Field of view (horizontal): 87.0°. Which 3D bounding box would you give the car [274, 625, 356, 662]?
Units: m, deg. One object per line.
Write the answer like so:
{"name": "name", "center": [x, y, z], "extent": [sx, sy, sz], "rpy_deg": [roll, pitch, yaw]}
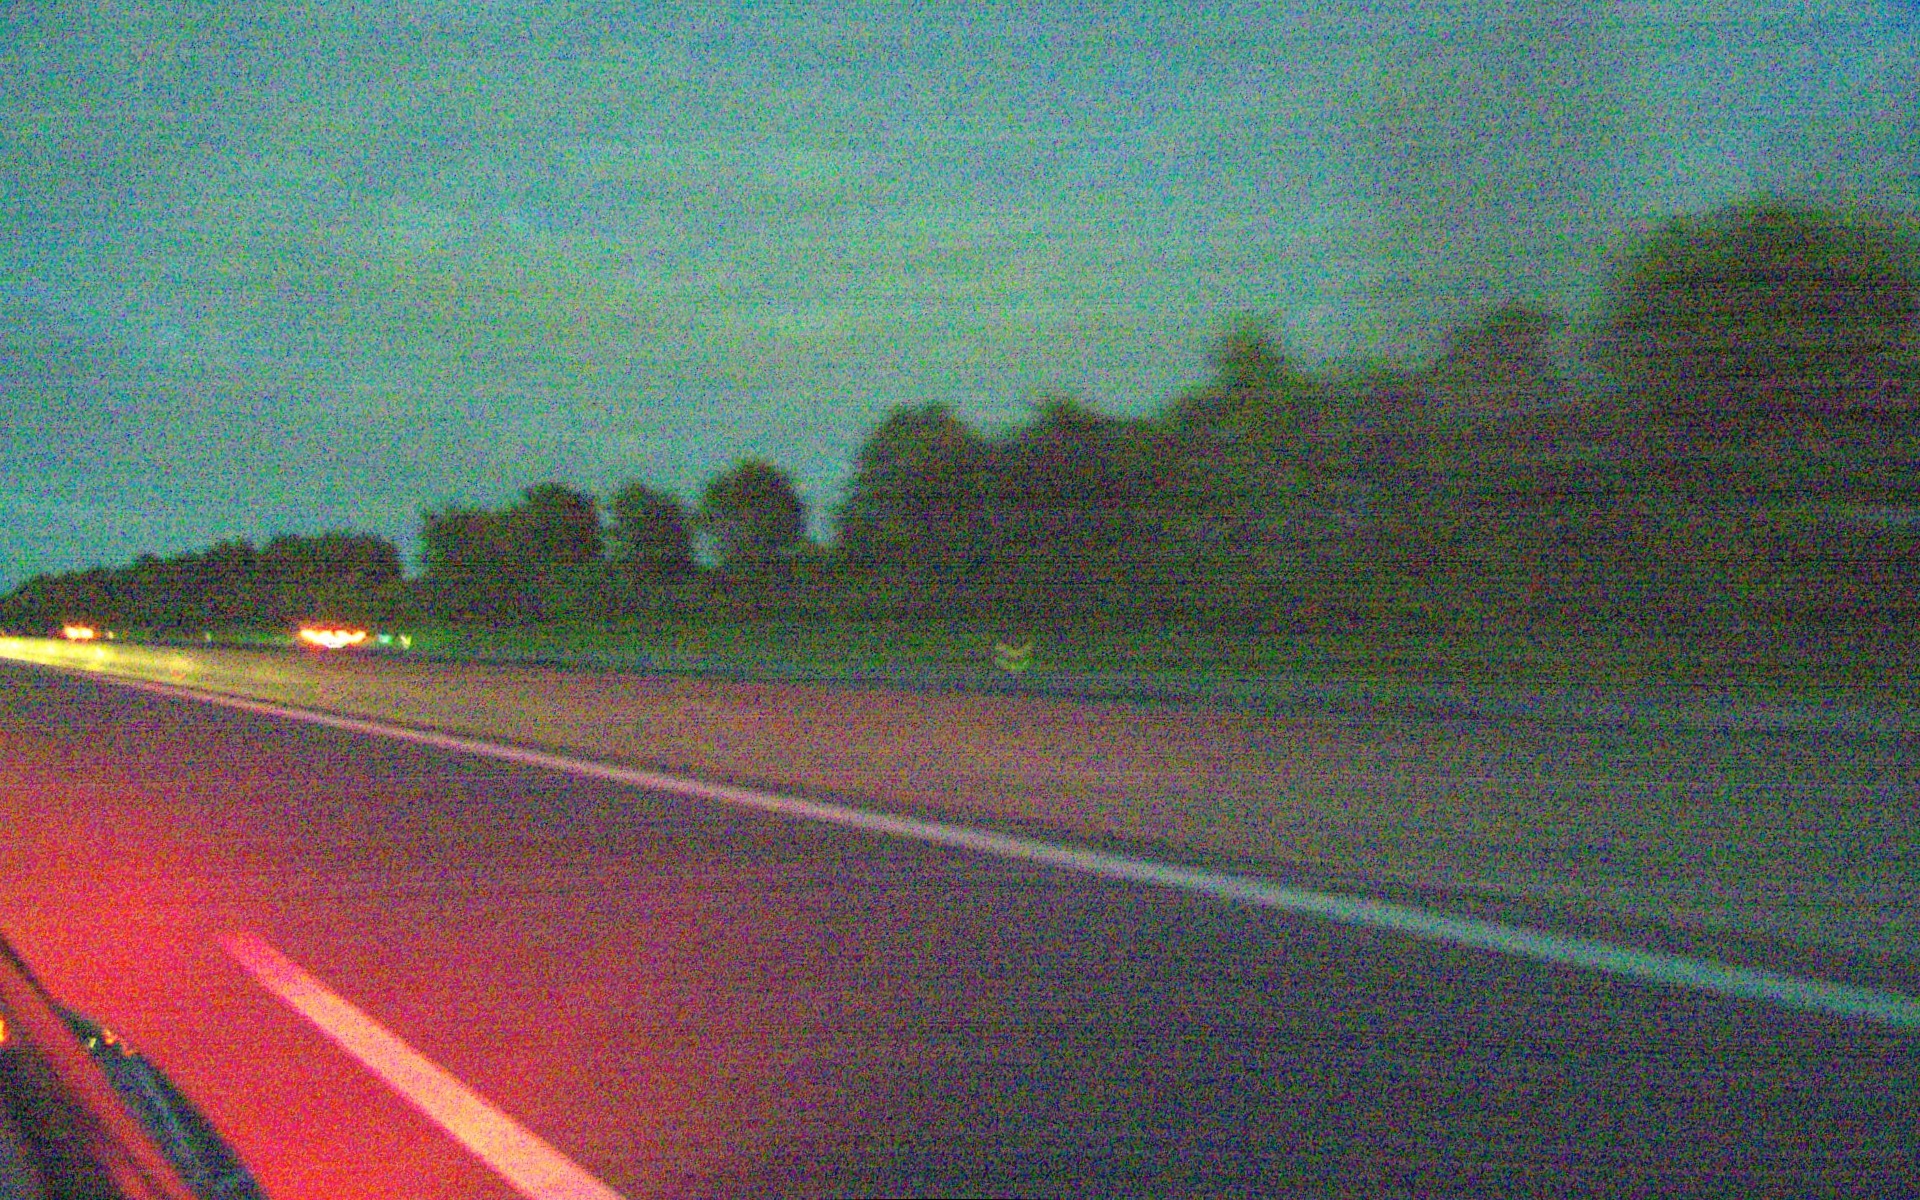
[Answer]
{"name": "car", "center": [-29.361, 1.950, 46.011], "extent": [4.400, 1.630, 1.884], "rpy_deg": [-2, -2, 40]}

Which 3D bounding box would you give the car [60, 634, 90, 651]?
{"name": "car", "center": [-99.113, 4.702, 113.350], "extent": [5.044, 1.646, 1.883], "rpy_deg": [0, 2, 42]}
